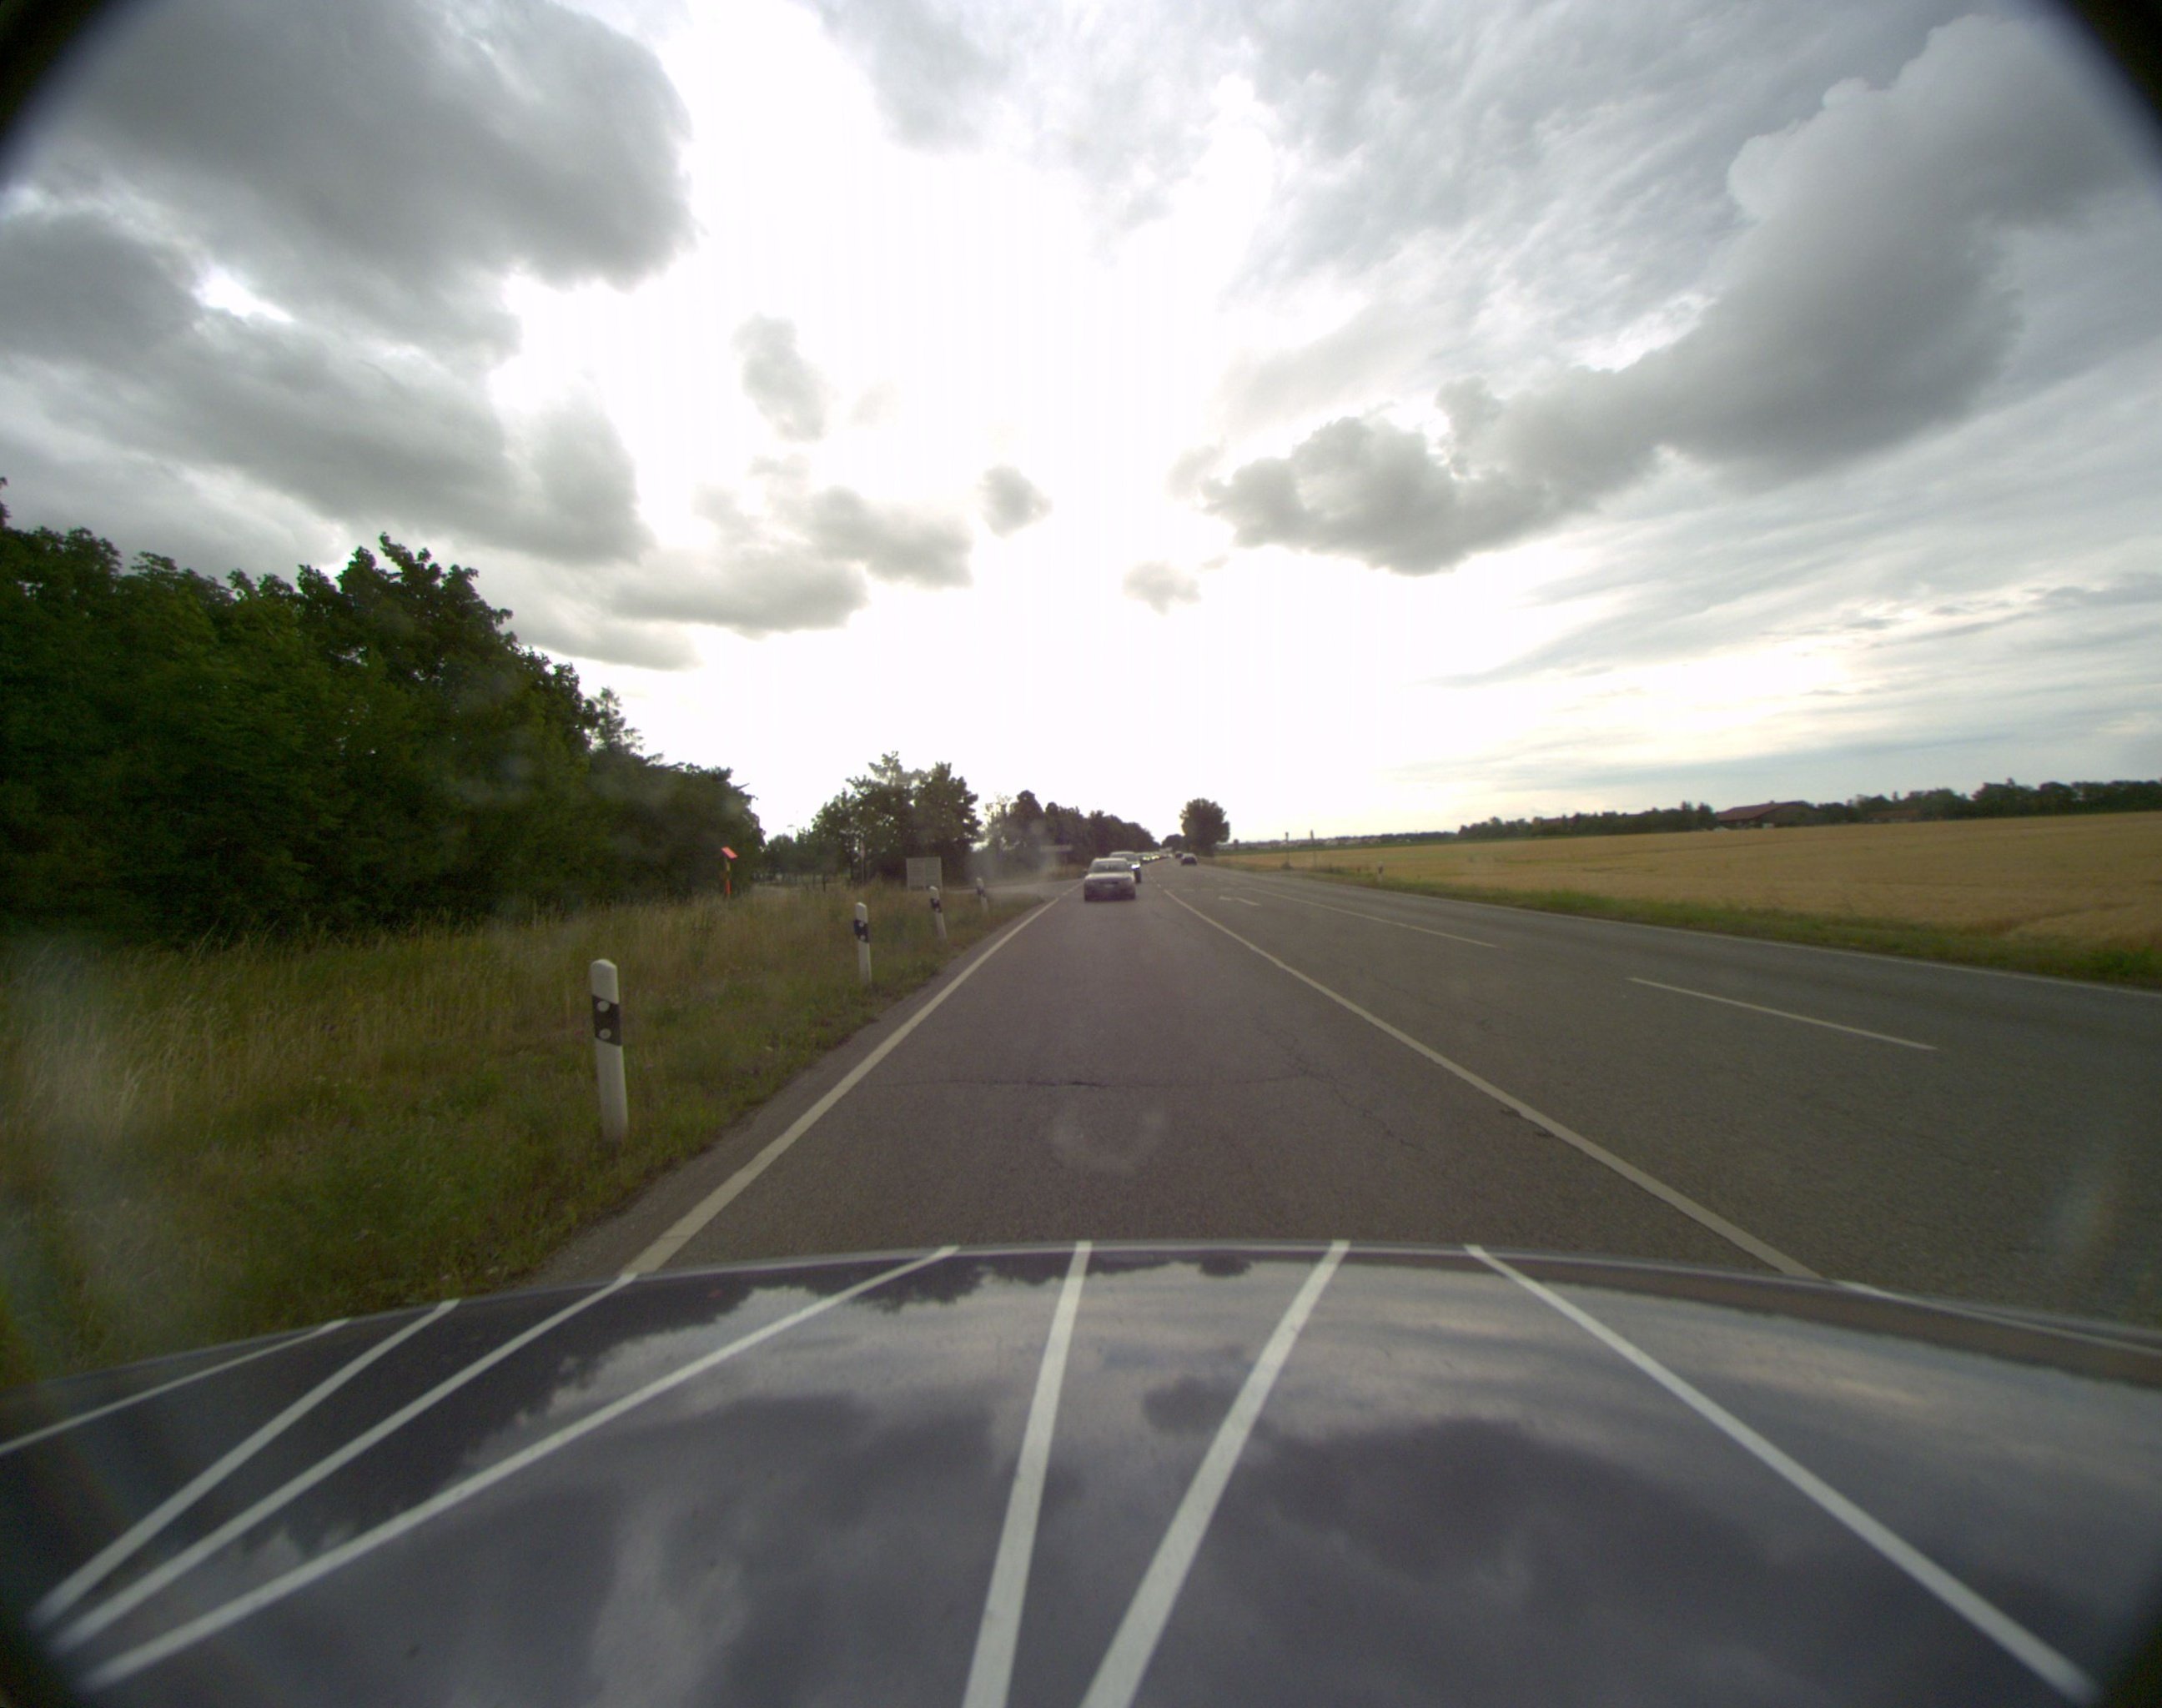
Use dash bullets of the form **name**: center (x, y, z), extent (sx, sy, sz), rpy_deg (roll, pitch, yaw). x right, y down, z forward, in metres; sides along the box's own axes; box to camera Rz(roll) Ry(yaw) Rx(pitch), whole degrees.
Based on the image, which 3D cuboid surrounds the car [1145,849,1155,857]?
- **car**: center (13.329, -0.216, 146.812), extent (1.793, 1.573, 4.139), rpy_deg (-2, 0, 8)

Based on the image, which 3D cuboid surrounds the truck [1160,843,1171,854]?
- **truck**: center (24.234, -1.575, 218.126), extent (2.320, 2.749, 7.672), rpy_deg (-3, 0, 1)

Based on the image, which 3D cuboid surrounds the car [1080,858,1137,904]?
- **car**: center (0.929, 0.881, 27.050), extent (1.794, 1.415, 4.367), rpy_deg (-2, 0, 1)

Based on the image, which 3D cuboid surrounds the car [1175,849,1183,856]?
- **car**: center (23.412, -0.438, 181.881), extent (1.951, 1.684, 4.449), rpy_deg (-2, 0, 7)

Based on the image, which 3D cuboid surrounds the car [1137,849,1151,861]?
- **car**: center (9.335, 0.137, 112.176), extent (1.793, 1.573, 4.189), rpy_deg (-2, 0, 6)

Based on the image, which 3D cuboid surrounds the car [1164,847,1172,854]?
- **car**: center (22.302, -0.884, 194.538), extent (1.792, 1.531, 4.140), rpy_deg (-2, 0, 12)

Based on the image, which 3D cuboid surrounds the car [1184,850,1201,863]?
- **car**: center (13.484, 0.323, 91.951), extent (1.830, 1.402, 4.426), rpy_deg (-3, 0, 7)

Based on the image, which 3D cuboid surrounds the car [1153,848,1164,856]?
- **car**: center (16.022, -0.406, 157.190), extent (1.792, 1.573, 4.140), rpy_deg (-2, 0, 10)

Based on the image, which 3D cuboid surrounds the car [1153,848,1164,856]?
- **car**: center (16.918, -0.439, 165.308), extent (1.953, 1.573, 4.140), rpy_deg (-2, 0, 12)

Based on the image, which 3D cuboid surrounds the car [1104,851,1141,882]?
- **car**: center (2.259, 0.670, 41.967), extent (1.794, 1.573, 4.367), rpy_deg (-2, 0, 1)

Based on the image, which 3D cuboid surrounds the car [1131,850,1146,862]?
- **car**: center (7.541, 0.240, 99.530), extent (1.793, 1.573, 4.369), rpy_deg (-2, 0, 6)
